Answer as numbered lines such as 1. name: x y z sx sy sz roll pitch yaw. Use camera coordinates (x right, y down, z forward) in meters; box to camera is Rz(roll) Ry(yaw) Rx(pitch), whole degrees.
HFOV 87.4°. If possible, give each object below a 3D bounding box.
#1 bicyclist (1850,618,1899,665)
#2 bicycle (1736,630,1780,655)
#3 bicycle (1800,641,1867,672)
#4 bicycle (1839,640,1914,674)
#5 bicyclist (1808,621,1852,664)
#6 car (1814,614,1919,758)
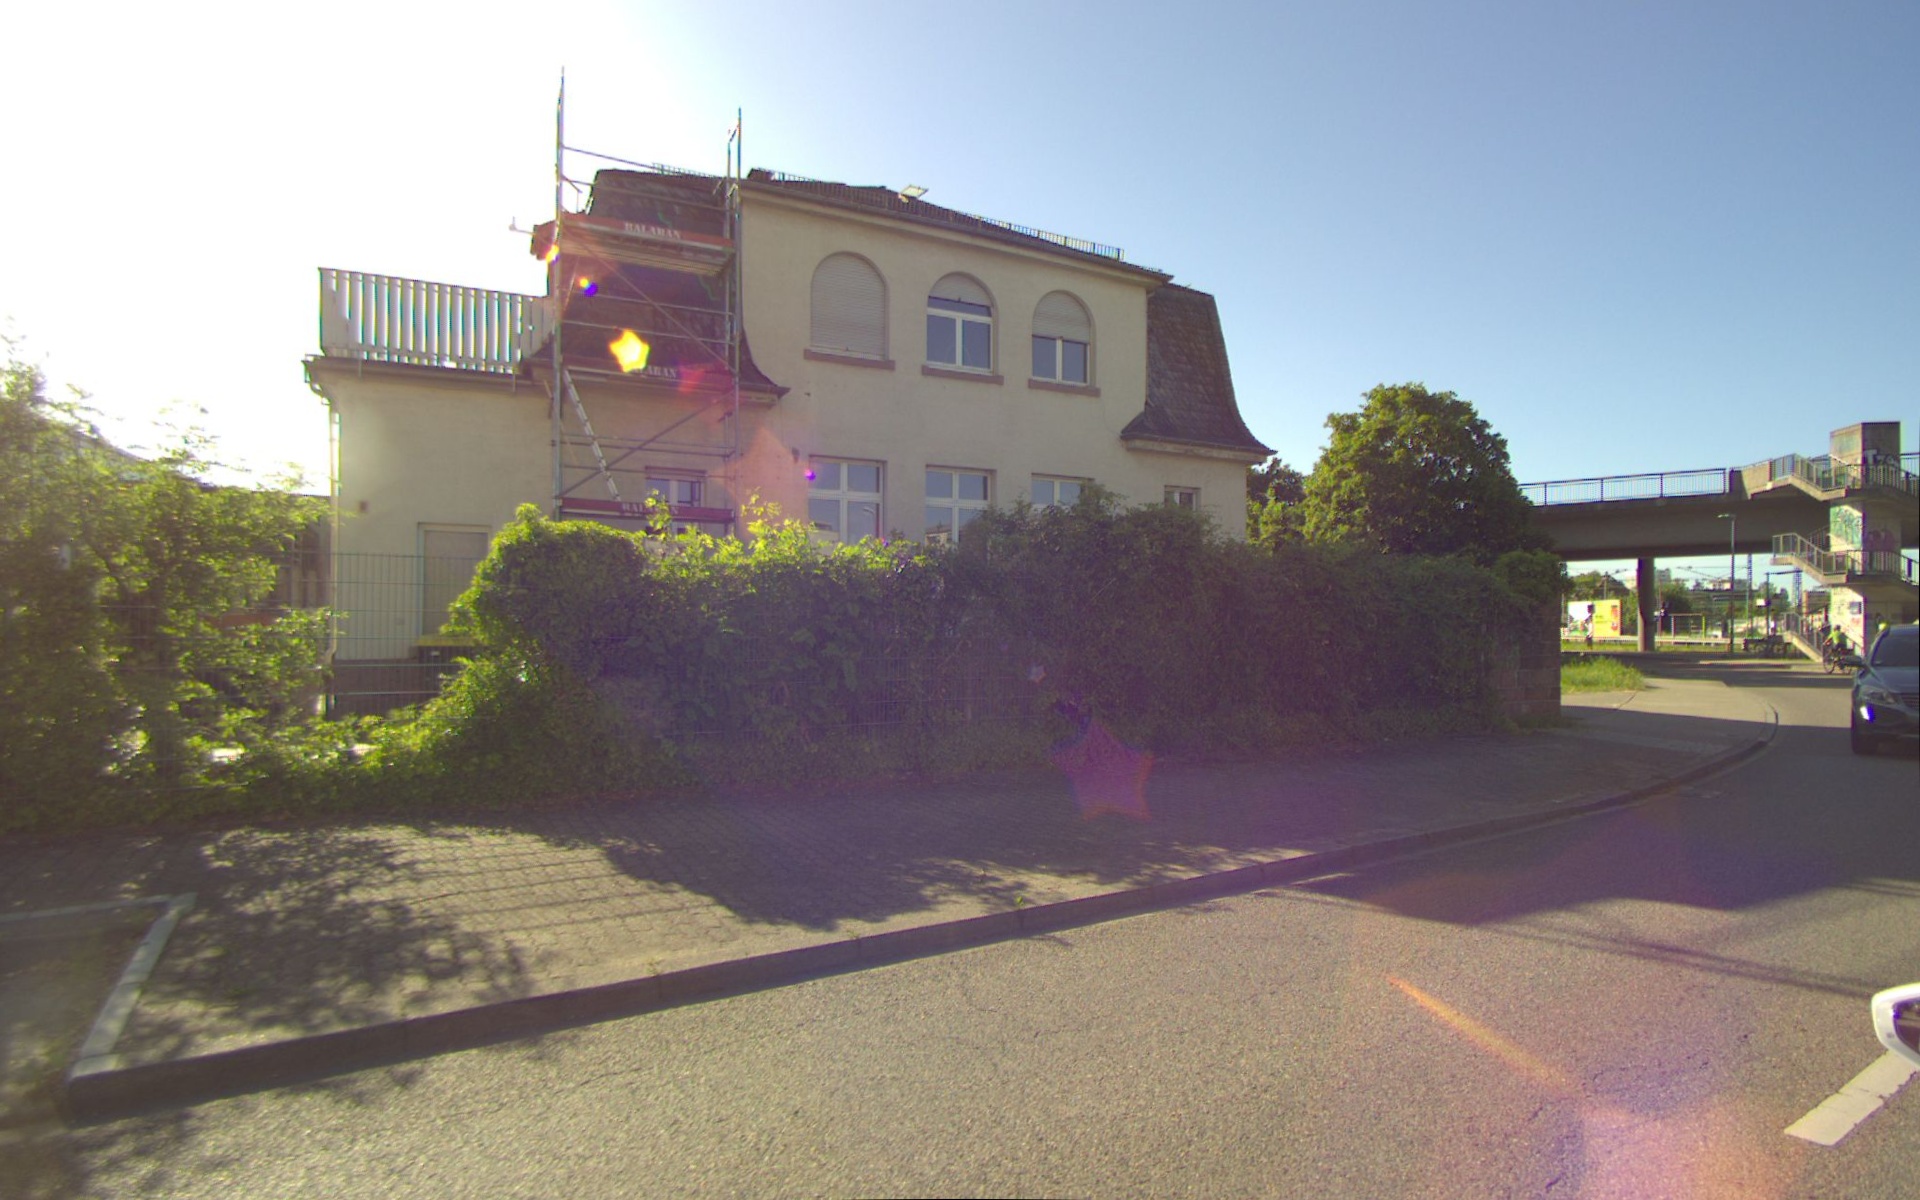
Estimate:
1. bicyclist: 30.130 1.352 33.111 0.826 1.508 0.924 0 -1 14
2. bicycle: 39.264 2.099 49.479 0.587 1.198 2.183 -1 -2 6
3. bicycle: 31.426 2.020 36.190 0.826 1.065 2.191 0 -1 11
4. bicycle: 30.128 1.861 33.063 0.826 1.065 2.191 0 -1 13
5. bicyclist: 31.434 1.523 36.301 0.826 1.508 0.924 0 -1 11
6. car: 13.146 1.068 13.639 1.968 1.717 4.549 -3 -3 36
